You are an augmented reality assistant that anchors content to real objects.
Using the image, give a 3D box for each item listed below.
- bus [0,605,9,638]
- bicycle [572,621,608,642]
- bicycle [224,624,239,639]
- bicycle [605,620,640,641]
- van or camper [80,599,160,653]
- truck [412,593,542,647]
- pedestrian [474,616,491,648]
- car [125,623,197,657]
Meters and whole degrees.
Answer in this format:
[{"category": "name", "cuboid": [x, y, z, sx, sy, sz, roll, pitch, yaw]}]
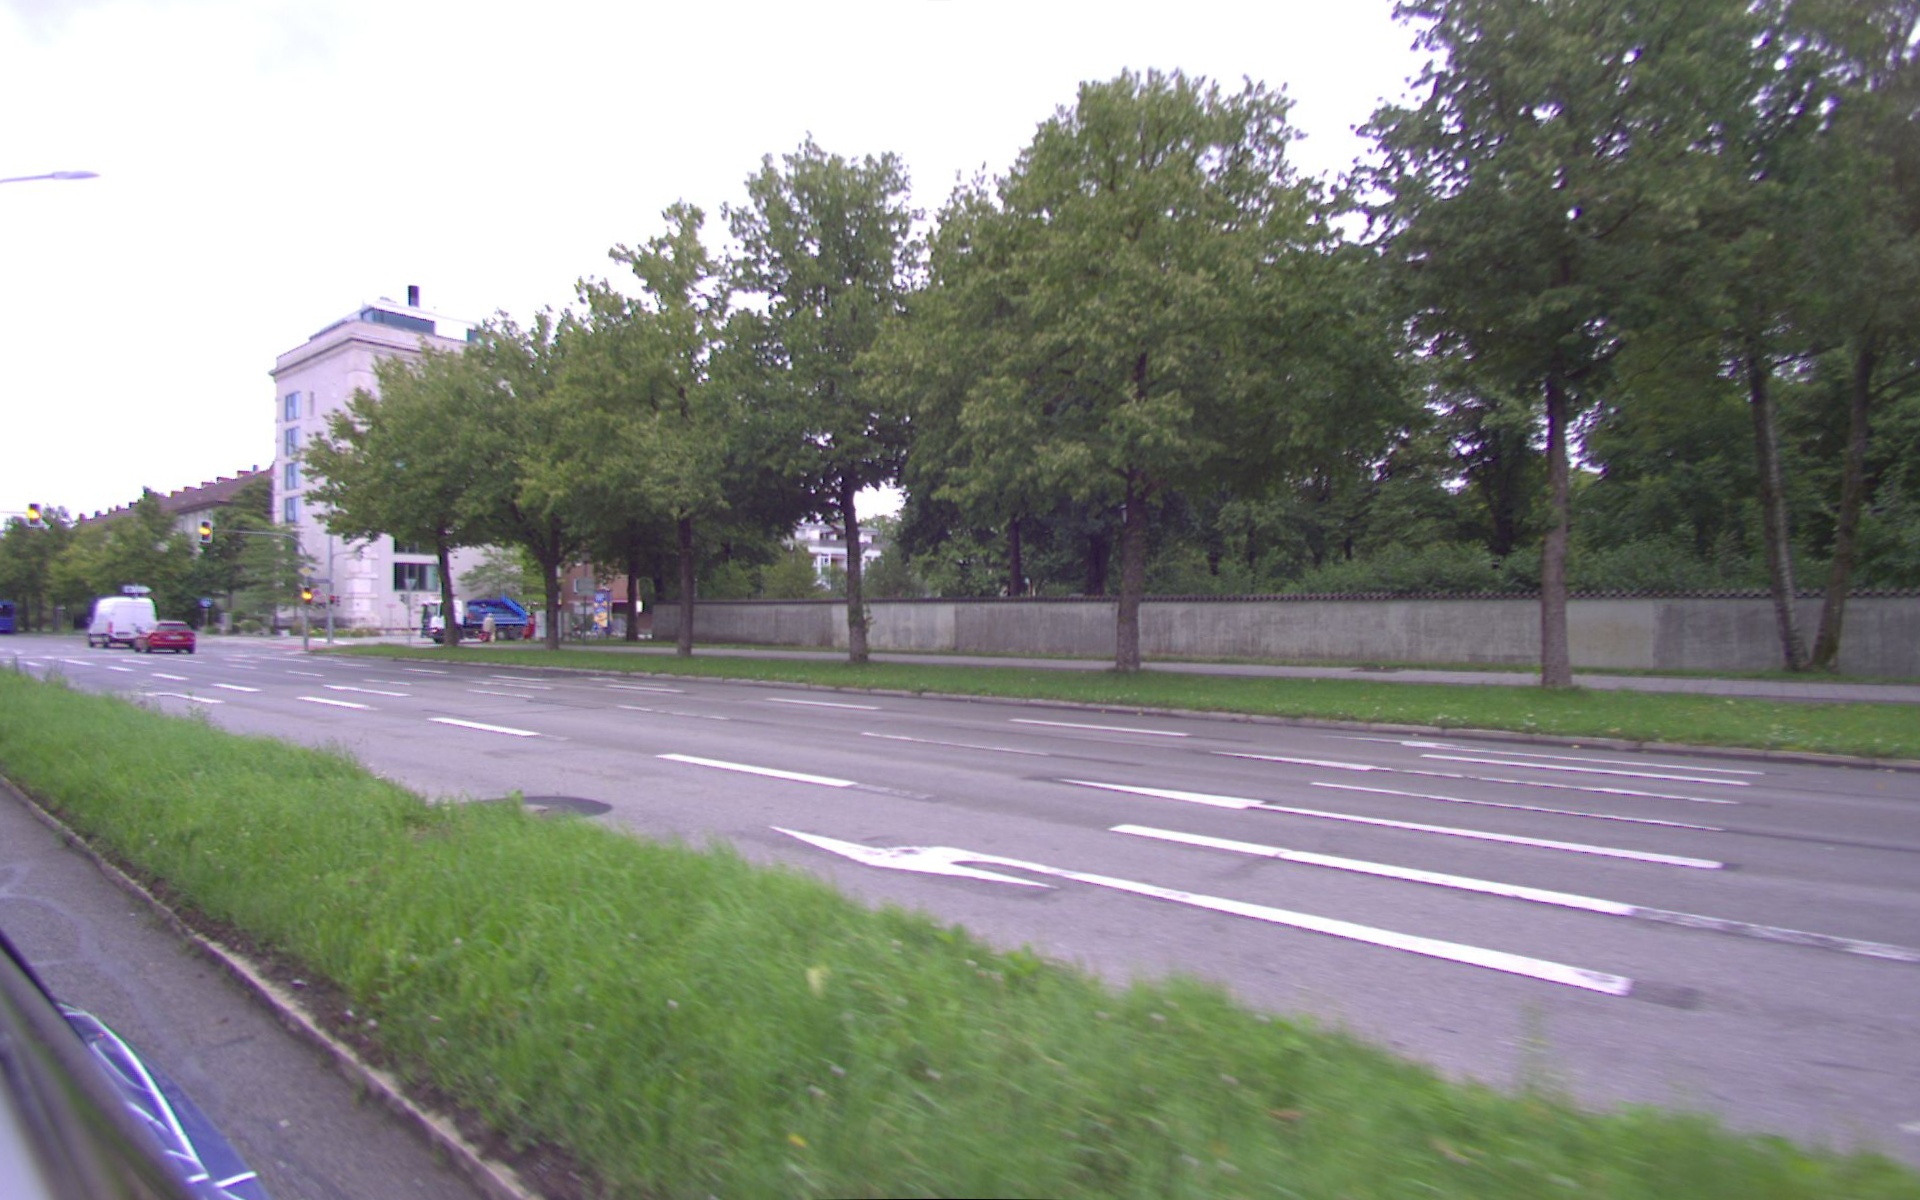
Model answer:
[{"category": "bus", "cuboid": [-101.932, 2.235, 105.313, 12.037, 3.369, 2.718, -1, -3, 40]}, {"category": "bicycle", "cuboid": [-21.699, 1.817, 59.349, 2.494, 1.195, 0.827, -1, -1, 40]}, {"category": "bicycle", "cuboid": [-56.427, 2.438, 78.392, 1.825, 1.190, 0.539, -1, -1, 40]}, {"category": "bicycle", "cuboid": [-20.207, 1.822, 60.528, 2.494, 1.195, 0.827, -1, -1, 40]}, {"category": "van or camper", "cuboid": [-44.723, 1.405, 53.822, 6.948, 2.667, 2.155, -1, -3, 42]}, {"category": "truck", "cuboid": [-33.401, 1.379, 70.215, 2.770, 3.515, 7.718, -1, -1, 40]}, {"category": "pedestrian", "cuboid": [-26.169, 1.750, 55.473, 0.516, 1.753, 0.701, -1, -1, 36]}, {"category": "car", "cuboid": [-36.703, 1.835, 46.465, 4.655, 1.463, 1.725, -2, -4, 41]}]
